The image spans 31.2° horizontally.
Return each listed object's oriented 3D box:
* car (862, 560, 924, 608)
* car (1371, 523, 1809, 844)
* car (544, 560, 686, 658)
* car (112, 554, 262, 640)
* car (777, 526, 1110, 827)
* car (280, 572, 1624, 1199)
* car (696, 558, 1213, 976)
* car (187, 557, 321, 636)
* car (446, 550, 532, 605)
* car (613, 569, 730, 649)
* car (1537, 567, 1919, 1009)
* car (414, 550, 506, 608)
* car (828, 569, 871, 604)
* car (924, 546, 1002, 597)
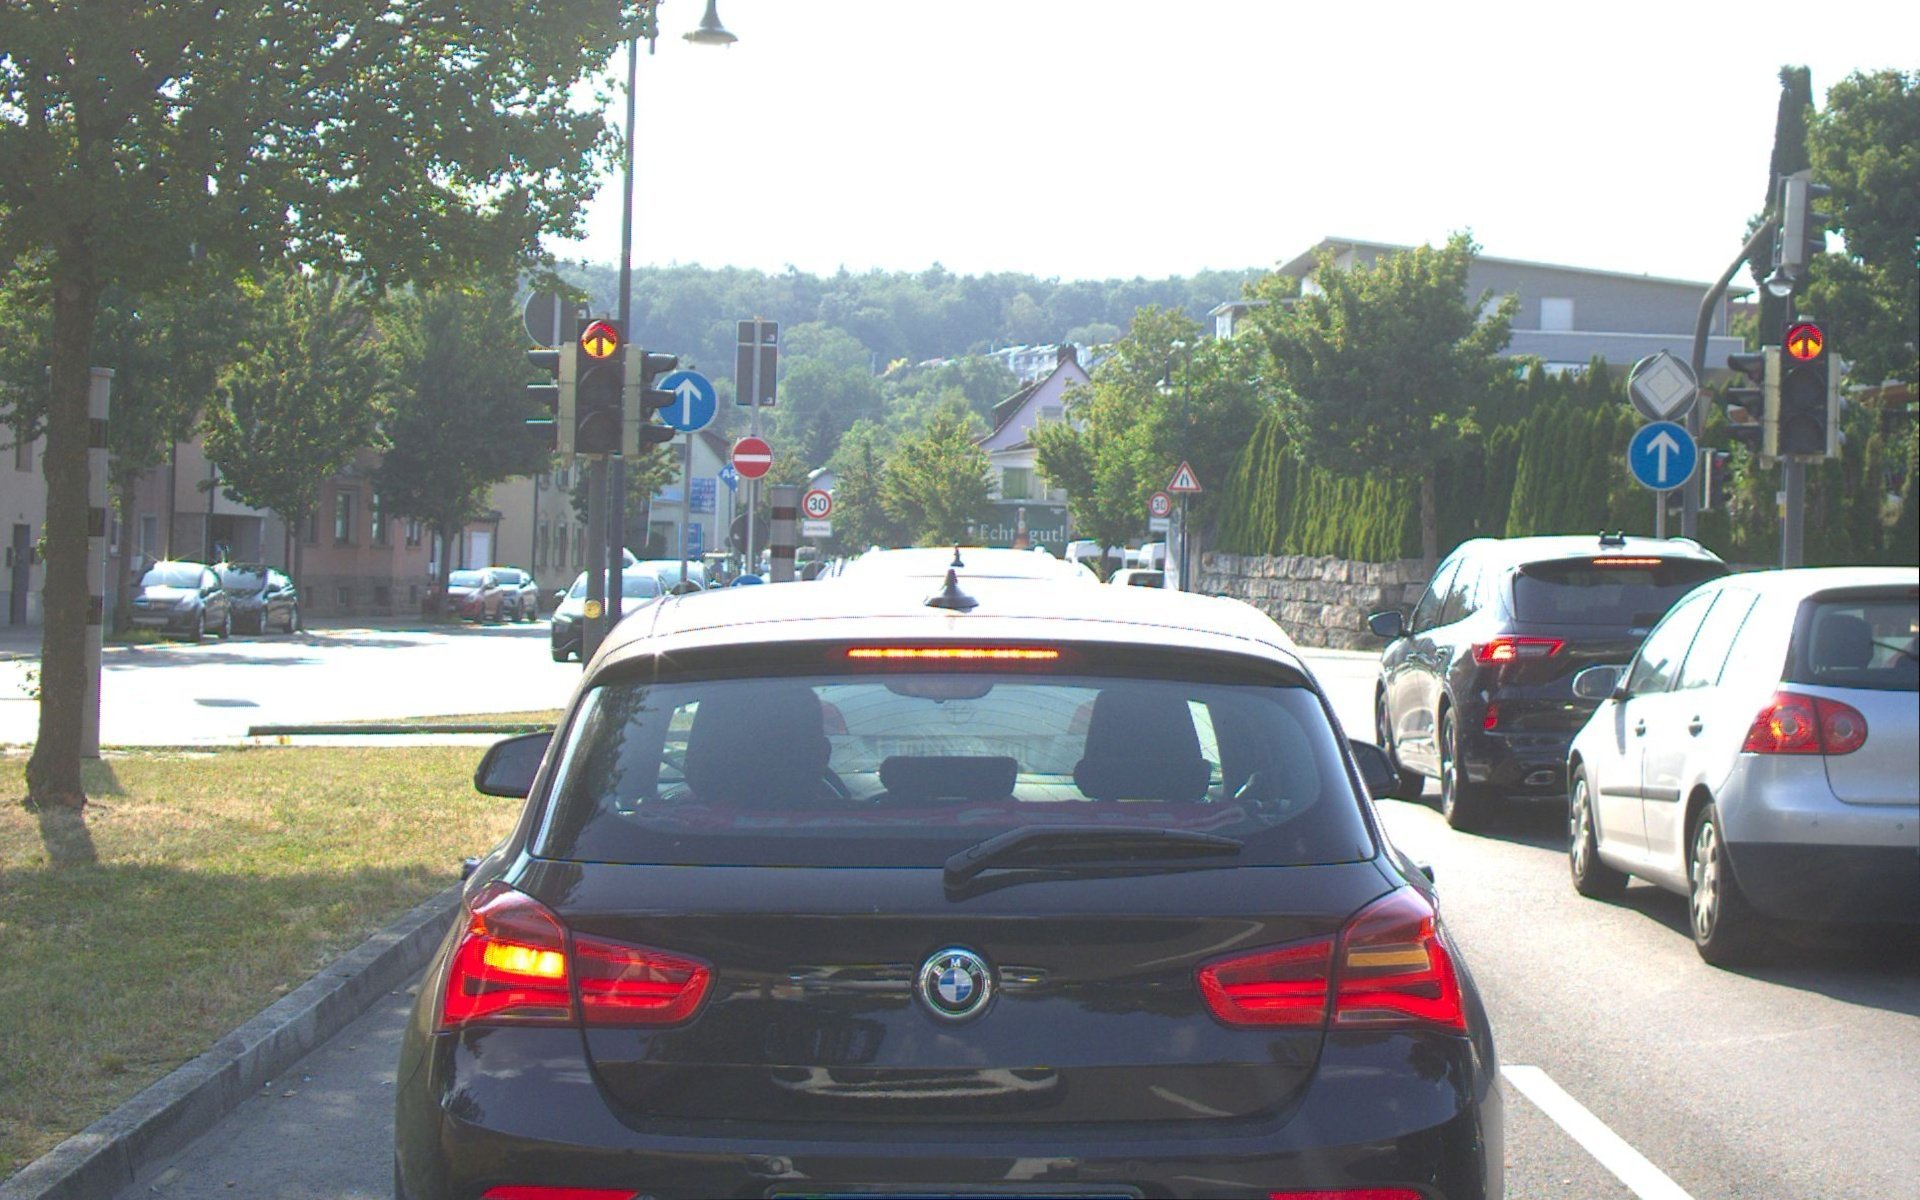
[{"bbox_3d":[-2.482,-0.611,126.031,1.890,1.696,4.525,-1,1,-6],"label":"car"},{"bbox_3d":[3.552,0.402,20.156,1.816,1.660,4.347,1,1,1],"label":"car"},{"bbox_3d":[-5.460,0.117,54.819,1.766,1.453,4.000,1,1,1],"label":"car"},{"bbox_3d":[-15.015,-0.080,66.952,1.924,1.590,4.000,1,1,1],"label":"car"},{"bbox_3d":[-0.056,0.387,21.025,1.816,1.635,4.242,1,1,1],"label":"car"},{"bbox_3d":[0.018,0.676,6.776,1.791,1.410,4.347,1,1,1],"label":"car"},{"bbox_3d":[0.014,0.564,14.298,1.816,1.446,4.242,1,1,1],"label":"car"},{"bbox_3d":[-14.906,-0.094,72.800,1.924,1.590,4.000,1,1,1],"label":"car"},{"bbox_3d":[-14.064,-0.695,102.806,1.924,1.590,4.000,1,1,1],"label":"car"},{"bbox_3d":[-5.190,0.146,62.245,1.693,1.348,4.000,1,1,1],"label":"car"},{"bbox_3d":[3.534,0.613,13.619,1.816,1.441,4.347,1,1,1],"label":"car"},{"bbox_3d":[-14.130,-0.608,97.301,1.924,1.590,4.000,1,1,1],"label":"car"},{"bbox_3d":[-5.168,-0.636,161.034,1.924,1.590,4.000,1,1,-1],"label":"car"},{"bbox_3d":[0.056,-0.892,105.224,1.861,1.480,4.660,1,1,-6],"label":"car"}]
